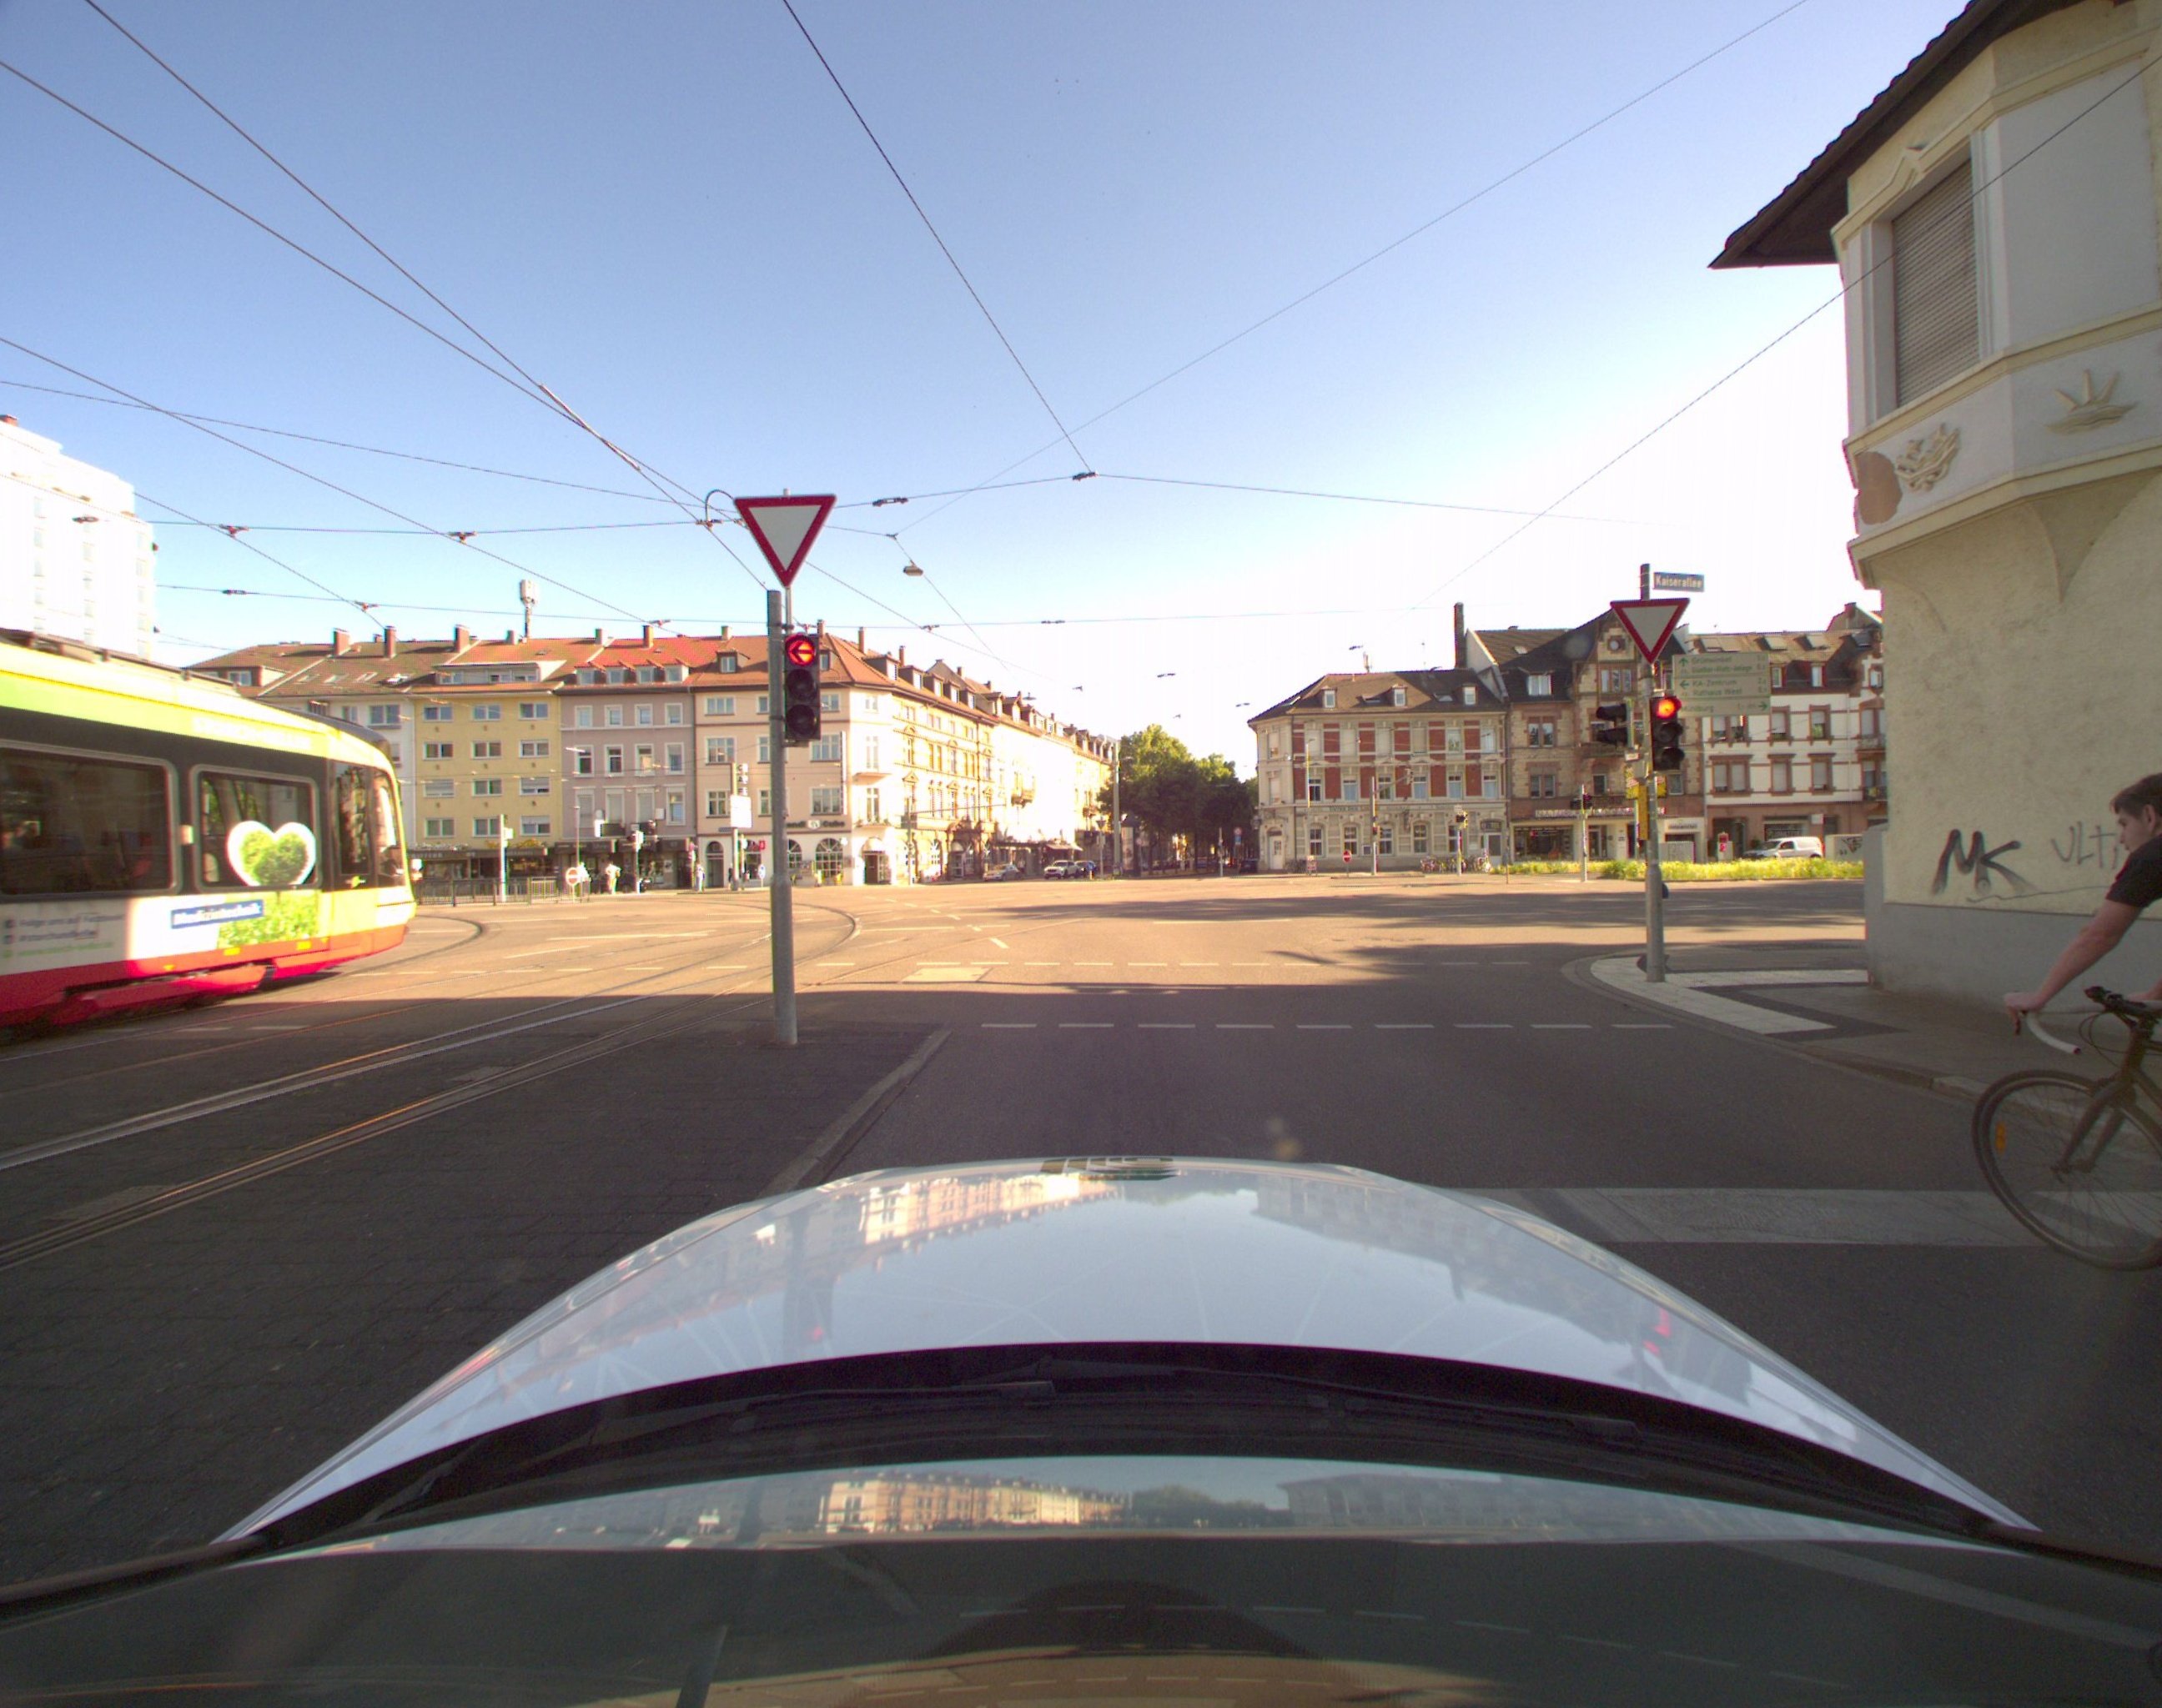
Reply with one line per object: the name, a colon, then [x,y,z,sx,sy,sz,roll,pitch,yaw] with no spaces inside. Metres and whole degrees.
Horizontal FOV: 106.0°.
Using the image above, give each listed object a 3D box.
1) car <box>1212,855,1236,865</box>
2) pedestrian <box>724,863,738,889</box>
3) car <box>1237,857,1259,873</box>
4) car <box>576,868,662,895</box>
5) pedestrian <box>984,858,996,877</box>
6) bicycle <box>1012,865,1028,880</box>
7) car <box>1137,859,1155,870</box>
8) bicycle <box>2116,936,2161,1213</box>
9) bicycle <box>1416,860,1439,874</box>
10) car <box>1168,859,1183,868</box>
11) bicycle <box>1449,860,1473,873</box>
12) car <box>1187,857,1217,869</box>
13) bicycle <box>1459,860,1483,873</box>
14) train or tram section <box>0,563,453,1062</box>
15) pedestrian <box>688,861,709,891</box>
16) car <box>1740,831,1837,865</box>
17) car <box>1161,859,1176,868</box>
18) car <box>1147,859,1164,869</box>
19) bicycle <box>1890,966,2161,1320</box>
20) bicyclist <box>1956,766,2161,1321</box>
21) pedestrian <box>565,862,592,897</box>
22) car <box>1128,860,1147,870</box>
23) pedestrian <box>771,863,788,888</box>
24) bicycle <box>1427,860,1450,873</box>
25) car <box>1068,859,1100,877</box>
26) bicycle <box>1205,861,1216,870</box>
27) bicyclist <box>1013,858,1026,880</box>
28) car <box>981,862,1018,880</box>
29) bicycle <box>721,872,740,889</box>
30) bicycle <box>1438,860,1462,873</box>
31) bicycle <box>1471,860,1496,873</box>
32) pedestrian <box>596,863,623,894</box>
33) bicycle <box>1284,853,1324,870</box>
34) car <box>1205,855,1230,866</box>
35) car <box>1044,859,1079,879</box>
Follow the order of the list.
car: [23.353,0.968,133.152,3.549,1.648,1.691,-2,0,19]
pedestrian: [-22.756,1.427,52.959,0.580,1.670,0.753,0,-1,2]
car: [16.906,1.098,82.331,1.664,1.483,3.967,-2,0,19]
car: [-30.362,1.787,53.631,4.347,1.711,2.308,0,-1,4]
pedestrian: [-8.173,1.187,73.188,0.770,1.670,0.834,-1,-1,17]
bicycle: [-4.892,1.484,65.530,0.696,1.118,1.642,-1,-1,16]
car: [9.172,1.493,115.443,1.664,1.354,3.608,-2,0,19]
bicycle: [4.504,0.917,2.484,0.515,1.090,1.798,-1,2,5]
bicycle: [22.429,0.826,52.694,0.656,0.840,2.162,0,-1,3]
car: [15.718,1.522,135.599,1.664,1.354,3.608,-2,0,19]
bicycle: [24.572,0.811,52.745,0.656,0.840,2.162,0,-1,3]
car: [17.203,1.258,115.452,3.870,1.648,1.691,-2,0,19]
bicycle: [25.208,0.806,52.700,0.656,0.840,2.162,0,-1,3]
train or tram section: [-9.622,-0.293,5.570,2.931,3.814,12.082,-1,0,-9]
pedestrian: [-19.911,1.141,42.359,0.545,1.577,0.838,-1,-1,29]
car: [45.447,-0.379,52.401,4.406,2.013,2.002,-1,0,4]
car: [14.032,1.503,130.605,1.664,1.354,3.608,-2,0,19]
car: [11.242,1.541,122.360,1.664,1.354,3.608,-2,0,19]
bicycle: [3.607,0.958,2.505,0.516,0.970,1.750,-1,0,2]
bicyclist: [3.582,0.576,2.496,0.570,1.701,1.117,-1,0,2]
pedestrian: [-23.450,1.181,38.006,0.657,1.577,0.889,-1,-1,29]
car: [7.698,1.490,111.319,1.664,1.354,3.608,-2,0,19]
pedestrian: [-19.467,1.399,52.569,0.838,1.577,0.718,0,-1,-45]
bicycle: [23.164,0.821,52.753,0.656,0.840,2.162,0,-1,3]
car: [0.309,1.241,73.765,1.664,1.483,3.967,-2,0,19]
bicycle: [15.770,1.393,99.277,0.636,1.021,1.839,0,-1,-12]
bicyclist: [-4.938,1.209,65.410,0.772,1.803,1.060,-1,-1,16]
car: [-6.707,1.424,67.221,1.664,1.354,3.608,-2,0,19]
bicycle: [-22.755,1.720,52.904,0.570,1.077,1.497,0,-1,2]
bicycle: [23.889,0.816,52.738,0.656,0.840,2.162,0,-1,3]
bicycle: [26.012,0.800,52.715,0.656,0.840,2.162,0,-1,3]
pedestrian: [-24.571,1.284,42.464,0.842,1.577,0.836,-1,-1,11]
bicycle: [15.607,0.501,57.056,2.547,1.174,0.818,0,-1,-1]
car: [21.447,1.061,127.718,3.549,1.648,1.691,-2,0,19]
car: [-1.602,1.214,67.506,1.664,1.483,3.789,-2,0,19]
